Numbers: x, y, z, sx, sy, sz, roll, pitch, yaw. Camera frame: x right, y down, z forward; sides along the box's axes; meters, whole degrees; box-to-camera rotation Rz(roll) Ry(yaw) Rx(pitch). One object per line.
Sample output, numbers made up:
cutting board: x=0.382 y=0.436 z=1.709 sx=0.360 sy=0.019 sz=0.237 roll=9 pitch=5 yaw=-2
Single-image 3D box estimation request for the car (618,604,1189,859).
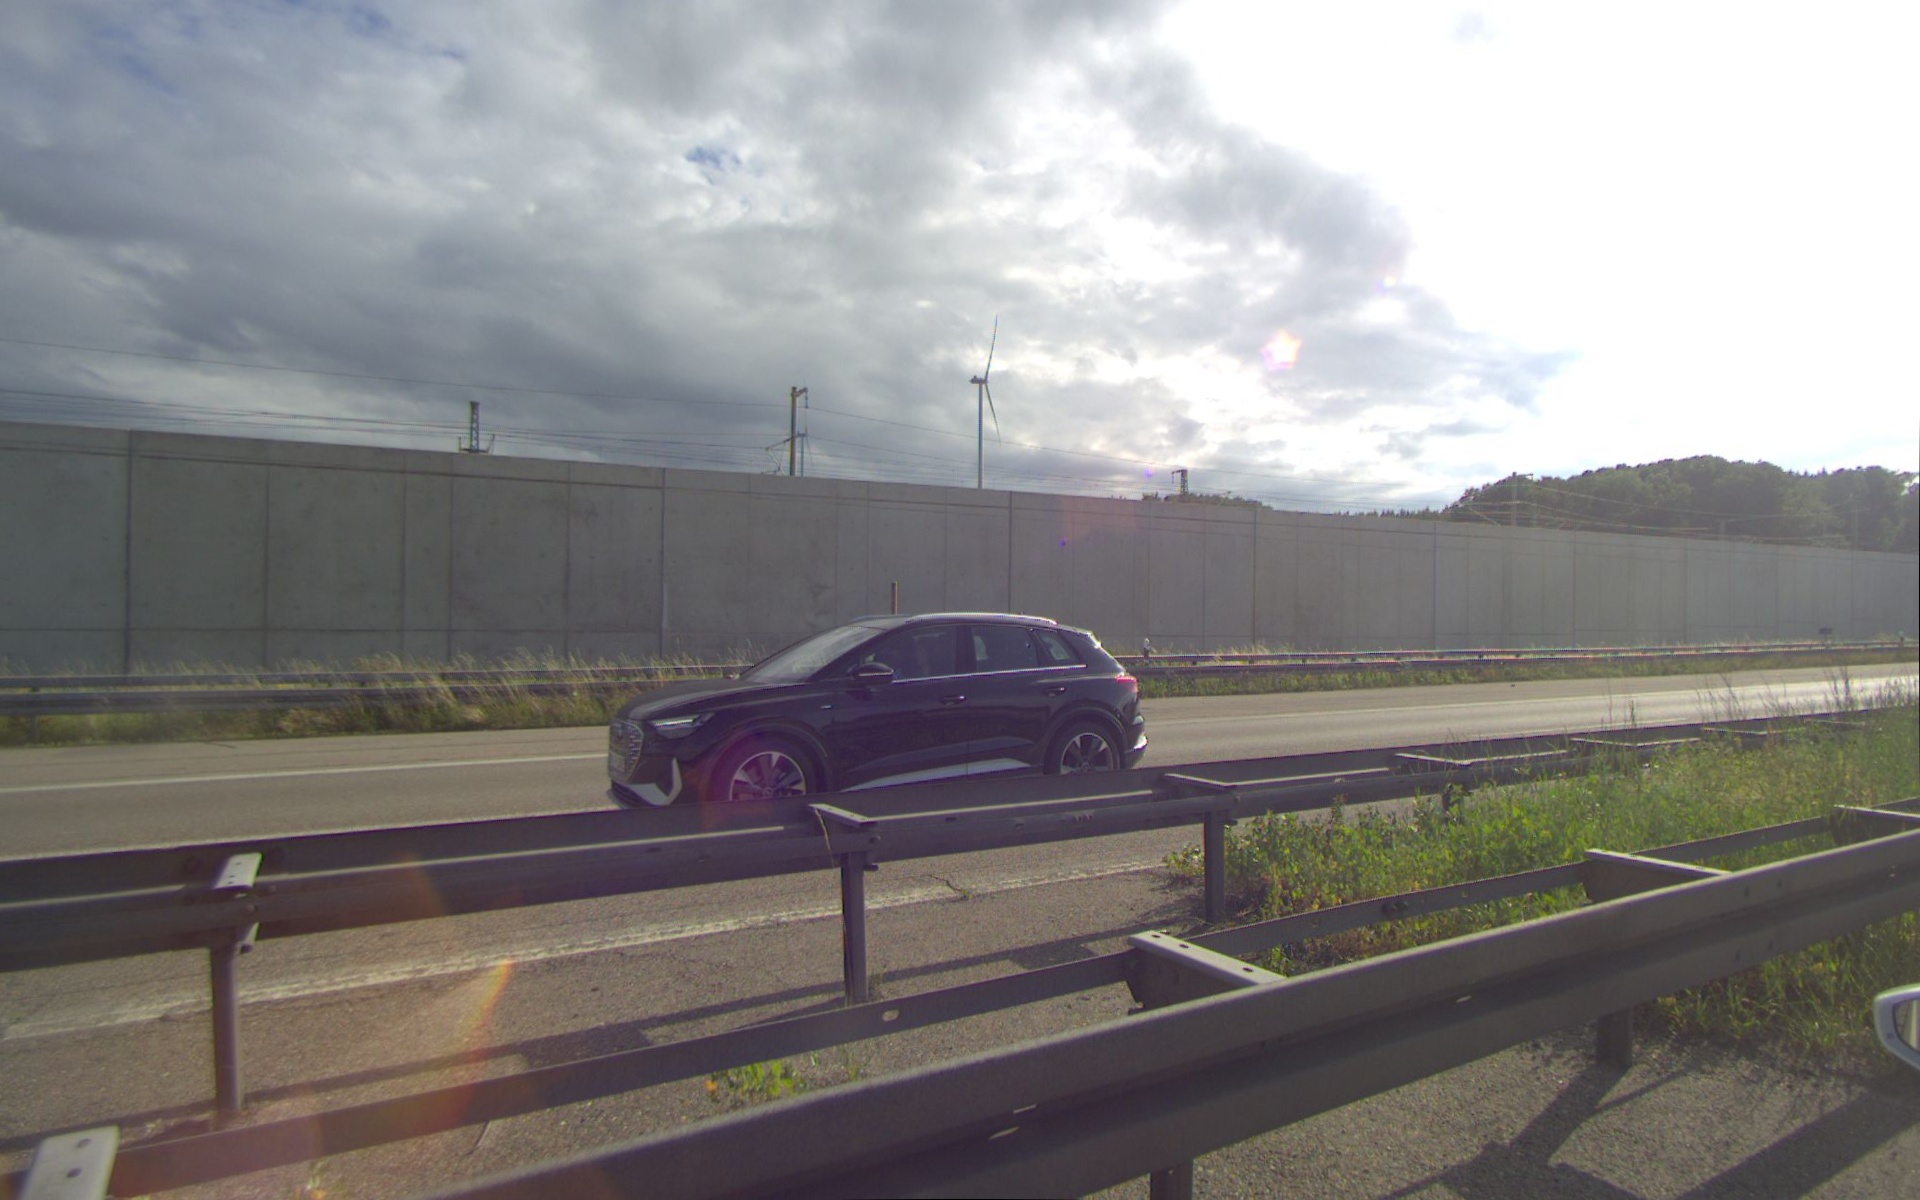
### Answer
car: x=-0.350 y=0.888 z=8.247 sx=4.398 sy=1.616 sz=1.708 roll=1 pitch=-1 yaw=-31
